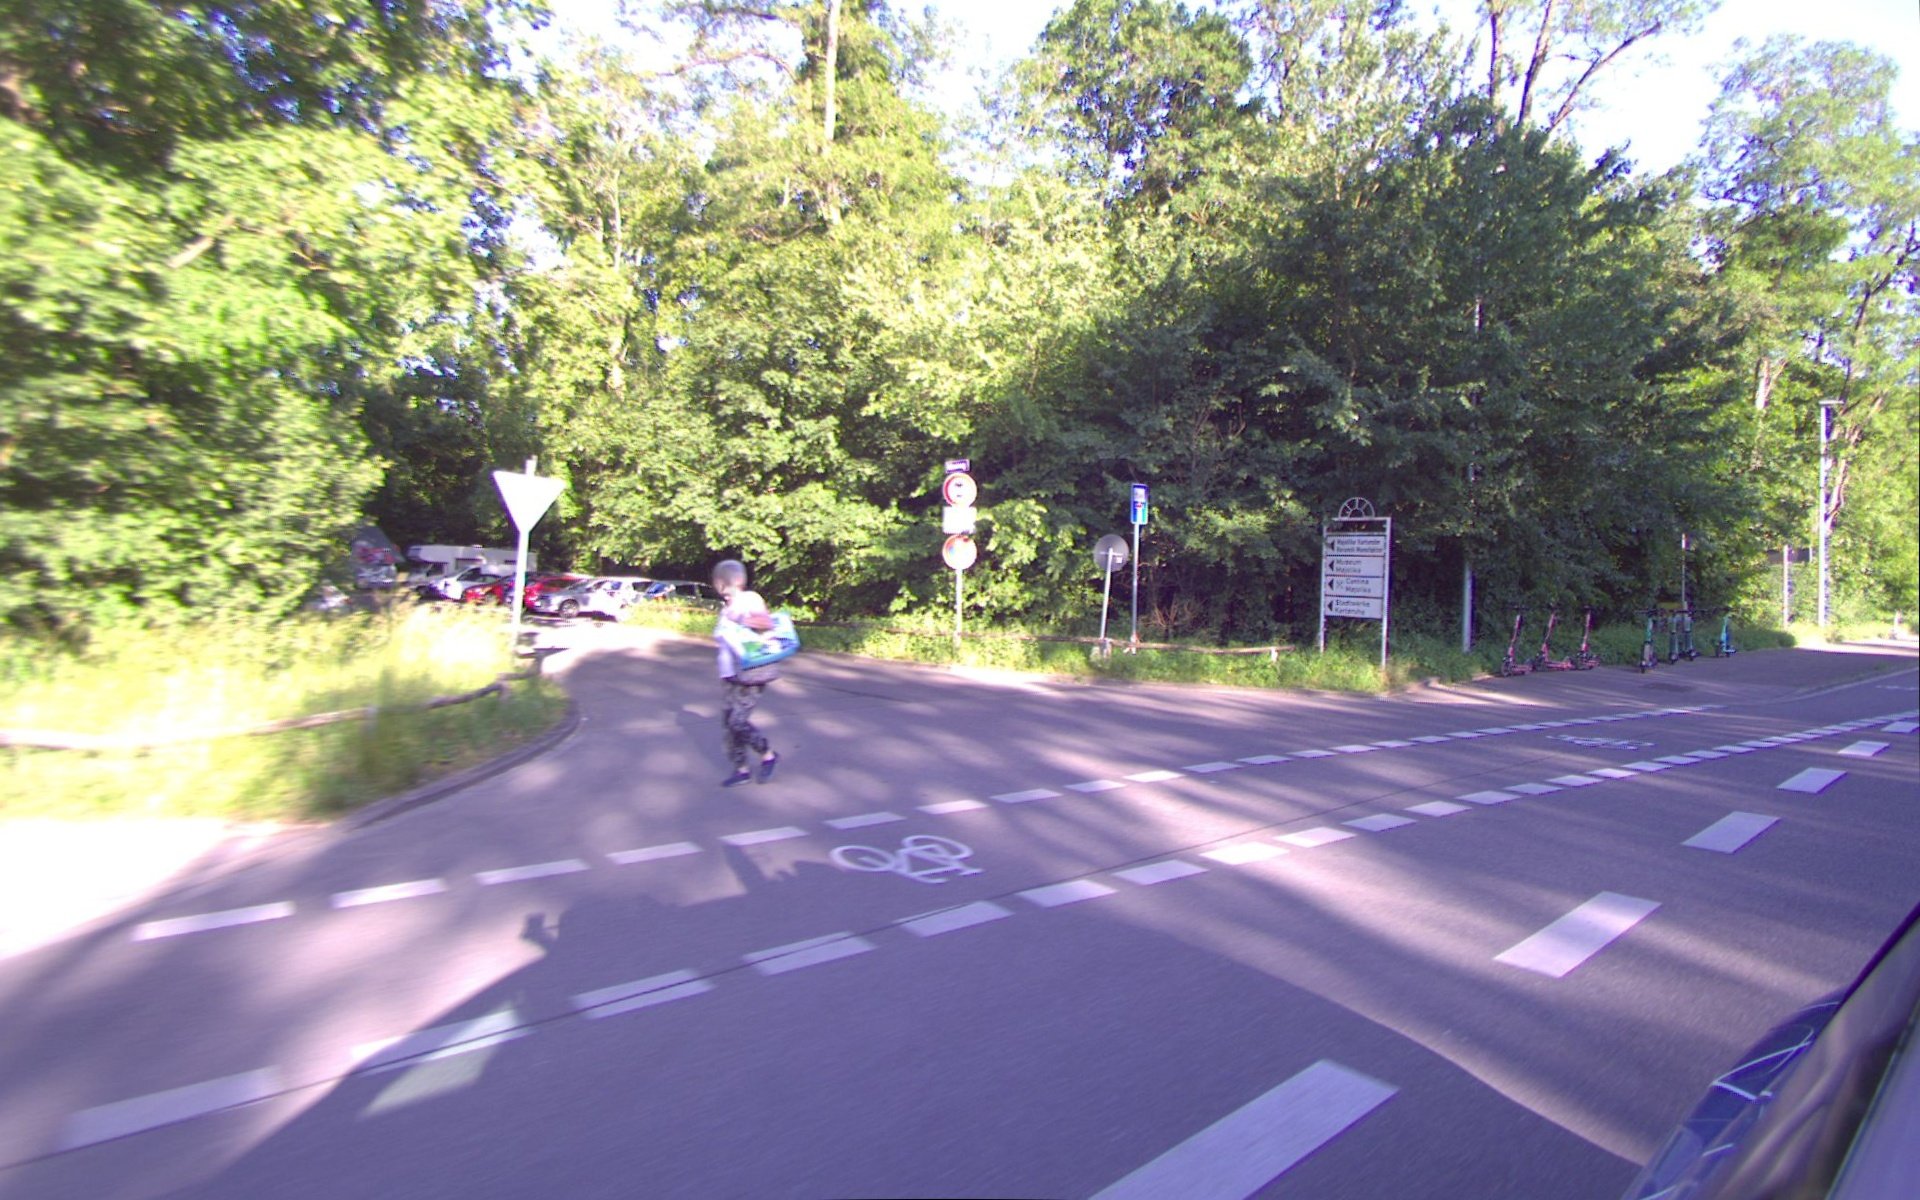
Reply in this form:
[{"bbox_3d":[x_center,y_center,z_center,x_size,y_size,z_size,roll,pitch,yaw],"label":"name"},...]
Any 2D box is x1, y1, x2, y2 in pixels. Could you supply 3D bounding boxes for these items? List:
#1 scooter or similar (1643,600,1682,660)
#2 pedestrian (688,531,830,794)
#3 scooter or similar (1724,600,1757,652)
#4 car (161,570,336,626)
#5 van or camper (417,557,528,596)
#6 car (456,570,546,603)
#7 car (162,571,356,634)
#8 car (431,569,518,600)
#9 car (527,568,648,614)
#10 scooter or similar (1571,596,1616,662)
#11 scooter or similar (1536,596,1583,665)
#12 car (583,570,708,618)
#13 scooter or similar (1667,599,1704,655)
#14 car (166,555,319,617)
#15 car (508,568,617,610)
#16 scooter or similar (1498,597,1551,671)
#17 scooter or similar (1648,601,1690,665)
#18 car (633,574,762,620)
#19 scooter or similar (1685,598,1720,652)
[{"bbox_3d":[14.619,0.604,21.045,1.084,1.199,0.386,0,1,-41],"label":"scooter or similar"},{"bbox_3d":[-1.503,0.421,7.546,0.721,1.822,0.808,0,1,-41],"label":"pedestrian"},{"bbox_3d":[18.853,0.614,24.446,1.084,1.199,0.386,0,1,-41],"label":"scooter or similar"},{"bbox_3d":[-18.714,-0.082,26.688,3.672,1.394,1.613,-1,1,-41],"label":"car"},{"bbox_3d":[-24.415,-1.180,50.799,4.746,1.882,1.787,-1,1,-41],"label":"van or camper"},{"bbox_3d":[-20.968,-0.638,46.300,3.466,1.472,1.502,-1,1,-41],"label":"car"},{"bbox_3d":[-16.845,0.024,24.418,3.676,1.394,1.612,-1,1,-44],"label":"car"},{"bbox_3d":[-23.085,-0.757,48.195,3.466,1.419,1.502,-1,1,-41],"label":"car"},{"bbox_3d":[-13.032,-0.334,35.514,3.672,1.548,1.613,-1,1,-41],"label":"car"},{"bbox_3d":[11.860,0.528,18.928,1.084,1.199,0.386,0,1,-41],"label":"scooter or similar"},{"bbox_3d":[10.846,0.542,18.307,1.084,1.199,0.386,0,1,-41],"label":"scooter or similar"},{"bbox_3d":[-10.517,-0.224,33.958,3.672,1.548,1.613,-1,1,-41],"label":"car"},{"bbox_3d":[16.018,0.586,22.334,1.084,1.199,0.386,0,1,-41],"label":"scooter or similar"},{"bbox_3d":[-21.694,-0.439,30.669,3.672,1.763,1.613,-1,1,-41],"label":"car"},{"bbox_3d":[-14.742,-0.418,37.603,3.466,1.472,1.502,-1,1,-41],"label":"car"},{"bbox_3d":[9.597,0.556,17.184,1.167,1.199,0.386,0,1,-41],"label":"scooter or similar"},{"bbox_3d":[13.776,0.623,19.659,1.084,1.199,0.386,0,1,-41],"label":"scooter or similar"},{"bbox_3d":[-8.376,-0.115,32.412,3.672,1.394,1.613,-1,1,-41],"label":"car"},{"bbox_3d":[17.195,0.566,23.438,1.084,1.199,0.386,0,1,-41],"label":"scooter or similar"}]
